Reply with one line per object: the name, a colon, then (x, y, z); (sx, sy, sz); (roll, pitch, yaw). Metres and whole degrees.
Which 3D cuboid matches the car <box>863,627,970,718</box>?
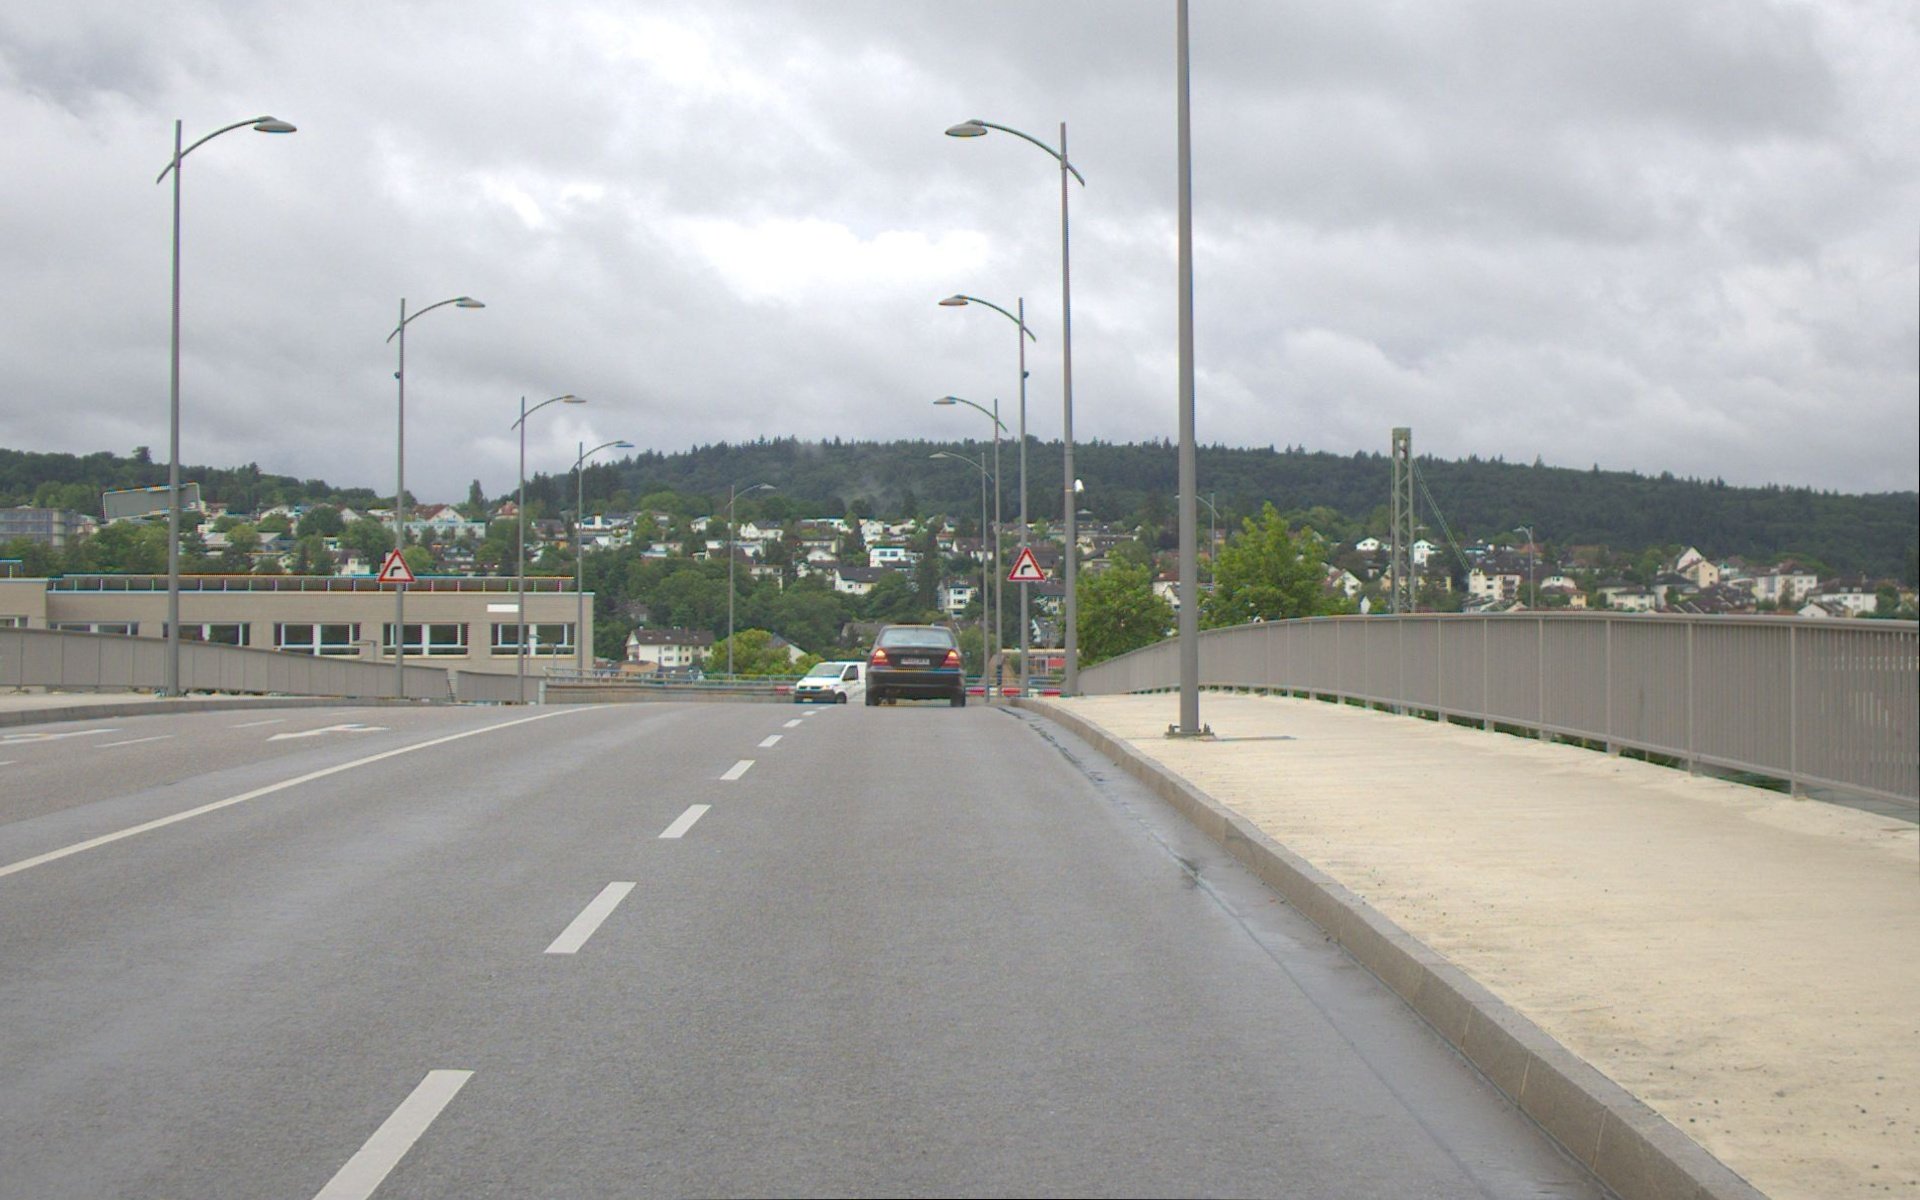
car: (-0.733, 1.273, 58.770); (1.754, 1.474, 3.999); (0, -2, -1)
